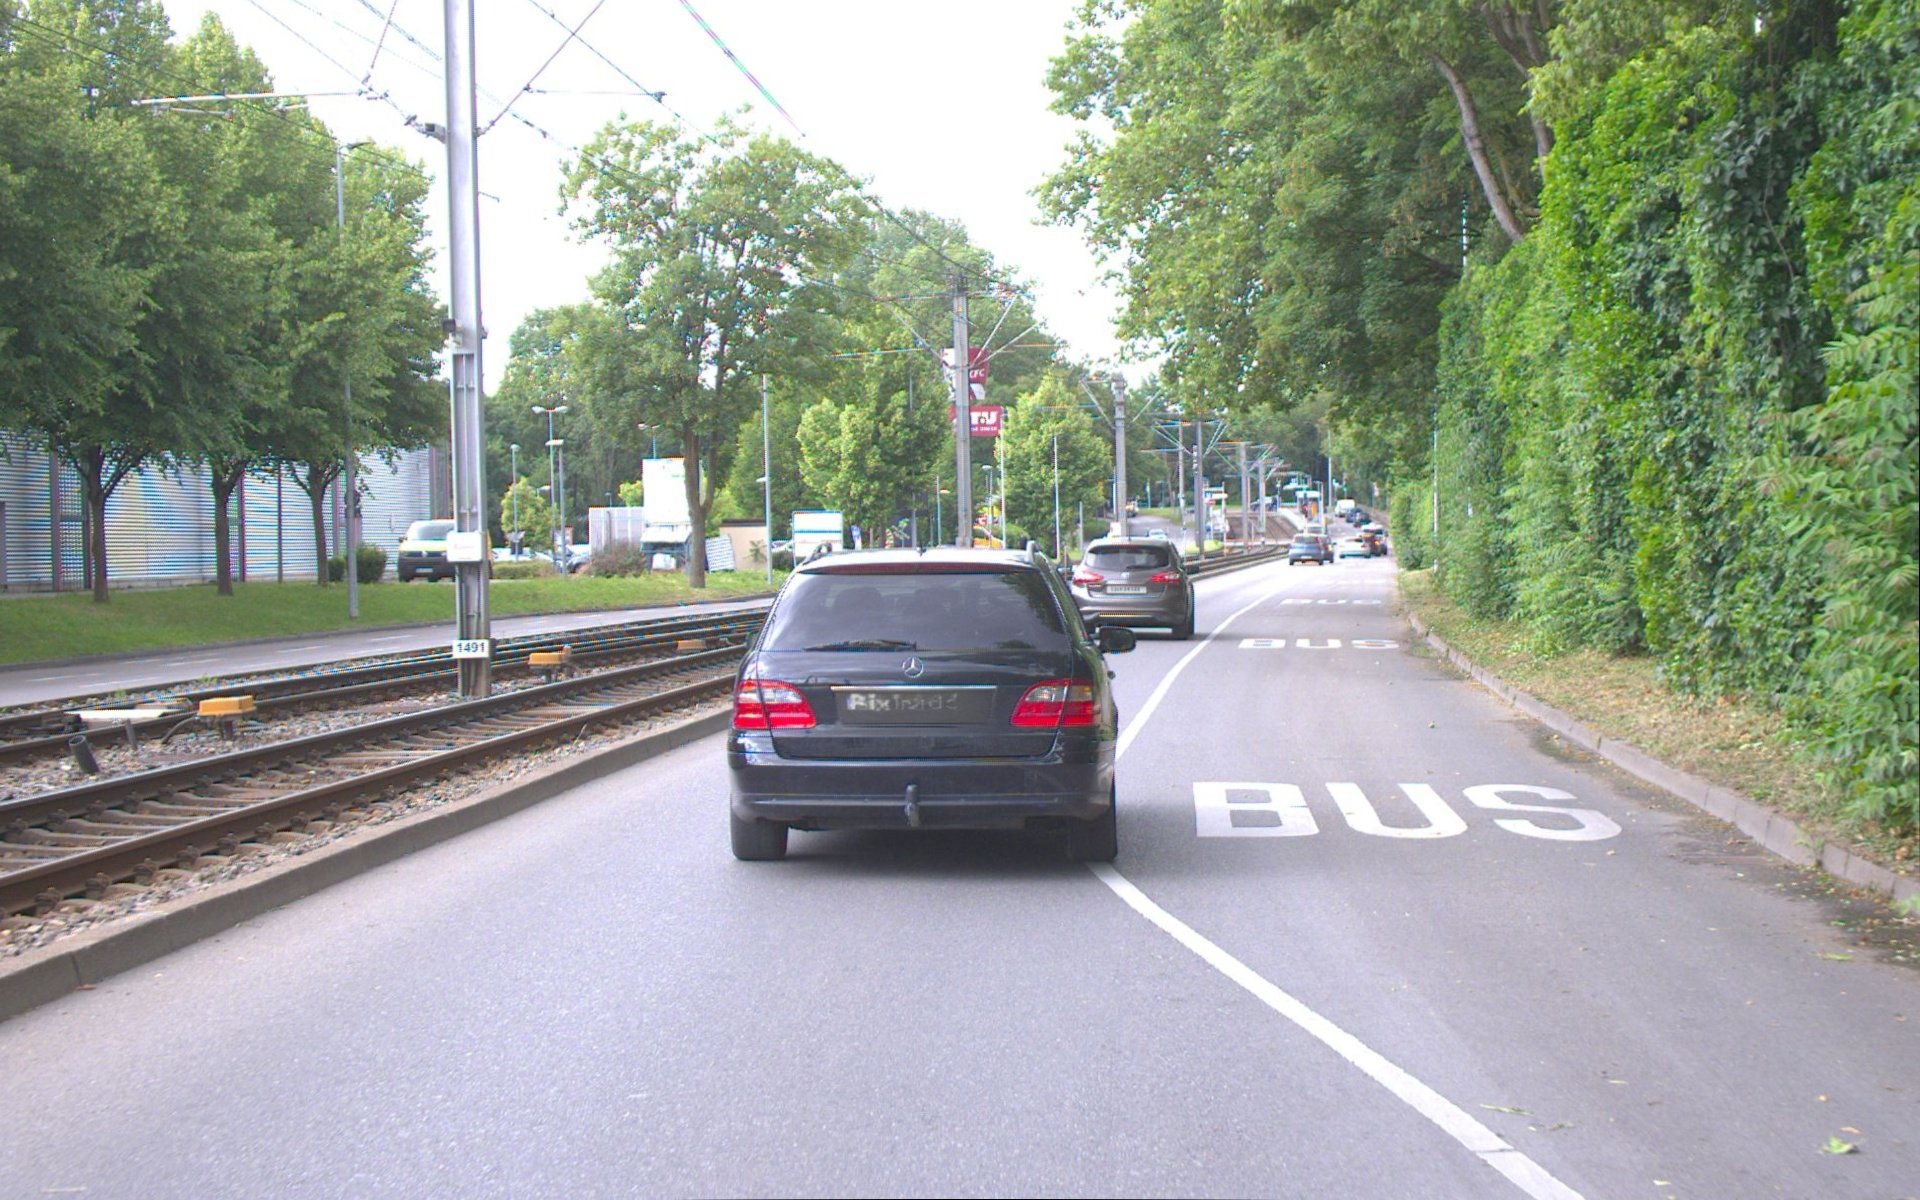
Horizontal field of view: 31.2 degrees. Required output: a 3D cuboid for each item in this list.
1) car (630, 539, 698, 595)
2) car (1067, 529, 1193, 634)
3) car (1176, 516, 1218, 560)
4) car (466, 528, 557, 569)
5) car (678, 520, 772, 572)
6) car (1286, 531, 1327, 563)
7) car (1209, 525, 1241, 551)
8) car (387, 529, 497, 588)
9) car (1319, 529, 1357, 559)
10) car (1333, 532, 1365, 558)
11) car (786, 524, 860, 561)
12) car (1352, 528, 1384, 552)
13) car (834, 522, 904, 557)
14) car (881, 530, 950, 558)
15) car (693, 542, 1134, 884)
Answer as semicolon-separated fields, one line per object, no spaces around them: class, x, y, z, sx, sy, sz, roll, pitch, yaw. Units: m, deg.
car;-11.390;-1.277;132.671;1.994;2.007;4.000;-3;1;3
car;2.585;-0.308;52.430;1.825;1.524;4.415;0;1;3
car;11.440;-2.961;165.858;1.892;2.007;3.897;-3;1;3
car;-20.675;-2.362;158.378;3.986;1.674;2.000;-3;0;-11
car;-10.479;-2.410;153.492;3.987;2.116;2.000;-3;0;-1
car;16.566;-2.548;164.492;1.825;1.524;4.415;0;1;5
car;15.690;-3.695;203.371;1.825;1.524;4.178;0;1;5
car;-15.614;-1.262;103.859;1.994;1.737;4.986;-1;1;7
car;19.176;-2.843;174.405;1.825;1.524;4.178;0;1;5
car;23.440;-3.321;207.330;1.825;1.524;4.178;0;1;5
car;-6.946;-2.906;173.961;3.692;1.809;1.795;-1;1;-4
car;25.907;-3.817;218.389;1.825;1.524;4.178;0;1;5
car;-4.911;-3.252;185.157;3.692;1.809;1.795;-1;1;-4
car;-2.675;-3.406;208.238;3.988;1.639;2.000;0;1;6
car;-0.094;0.457;17.035;1.833;1.473;4.415;0;1;4
